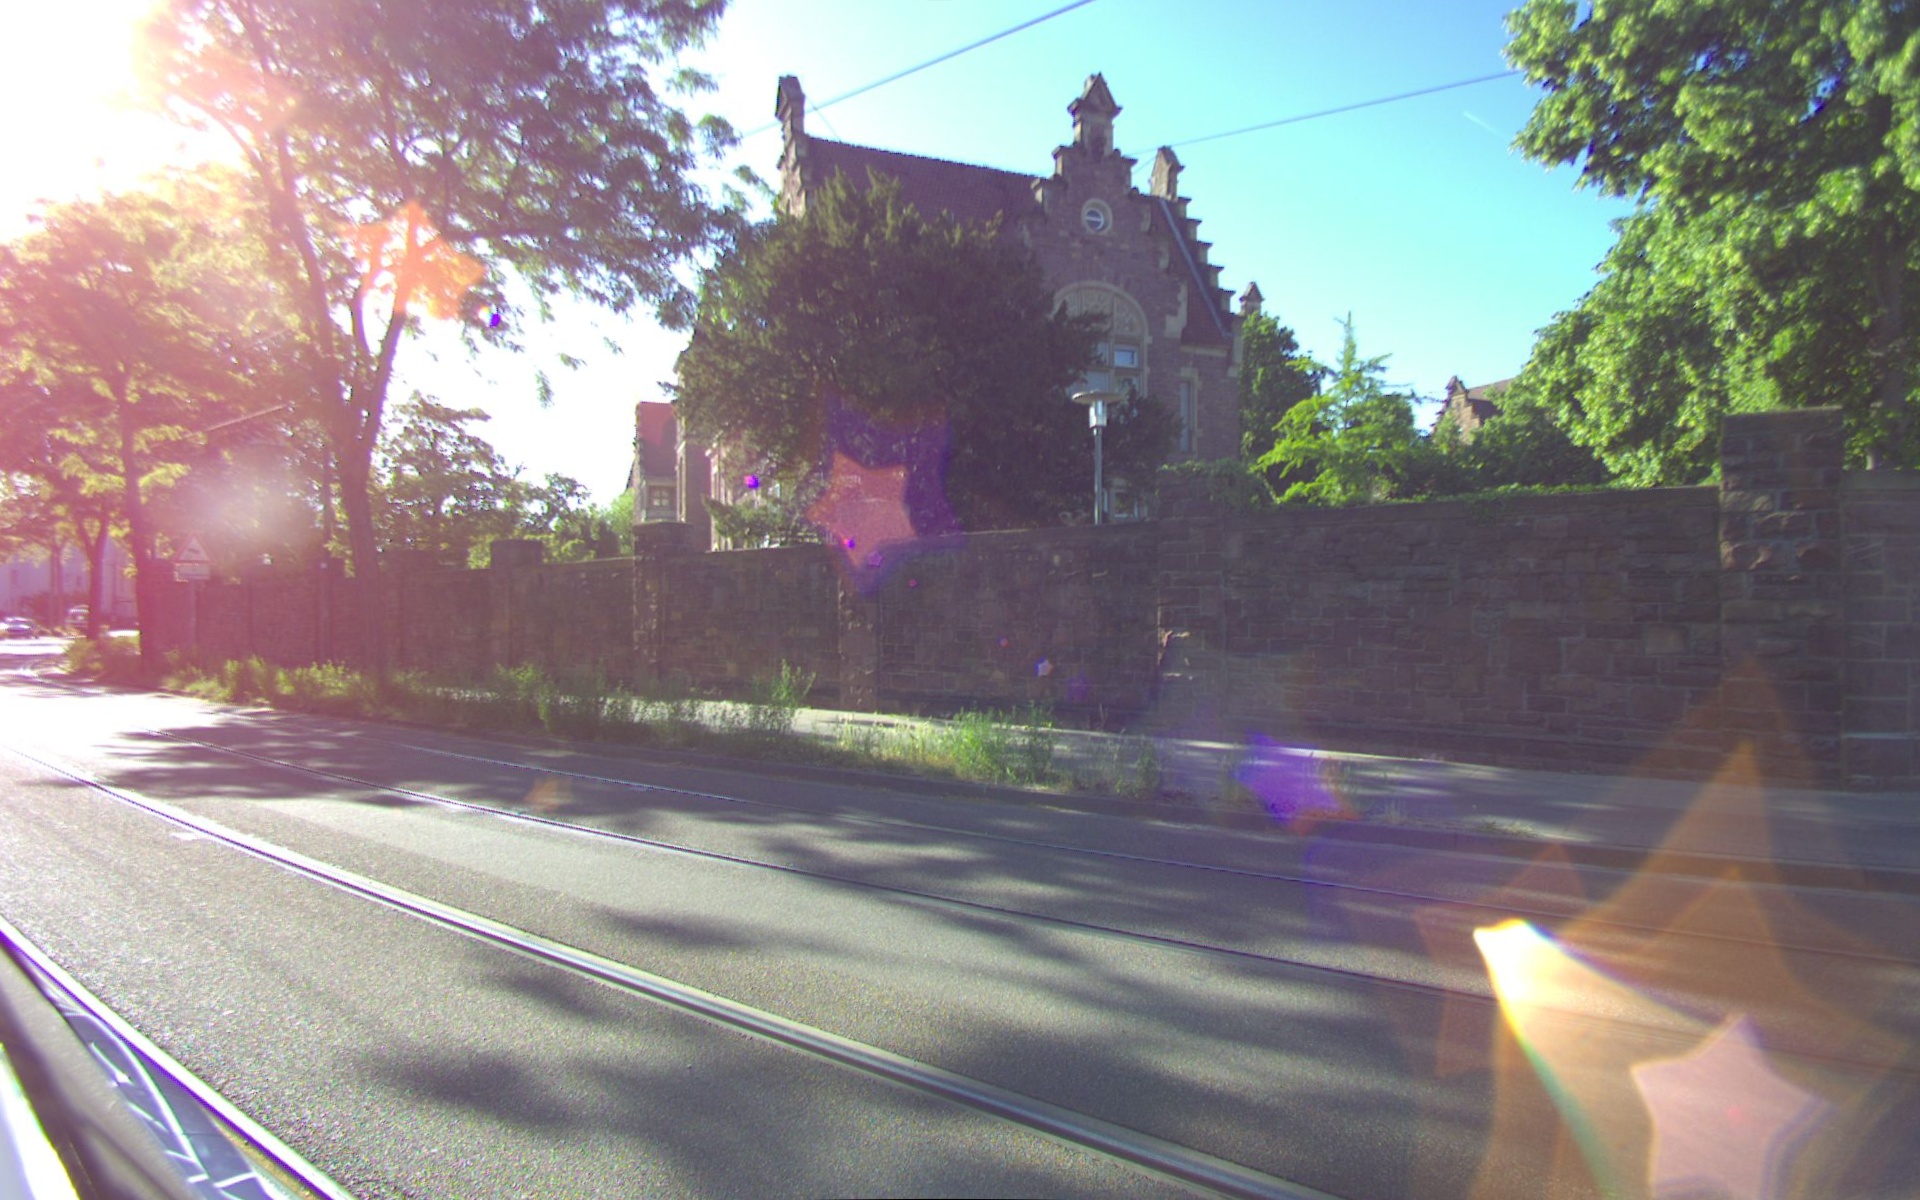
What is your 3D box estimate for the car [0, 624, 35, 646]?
[{"bbox_3d":[-68.910,2.521,73.837,1.969,1.560,4.005,0,-1,-41],"label":"car"}]
